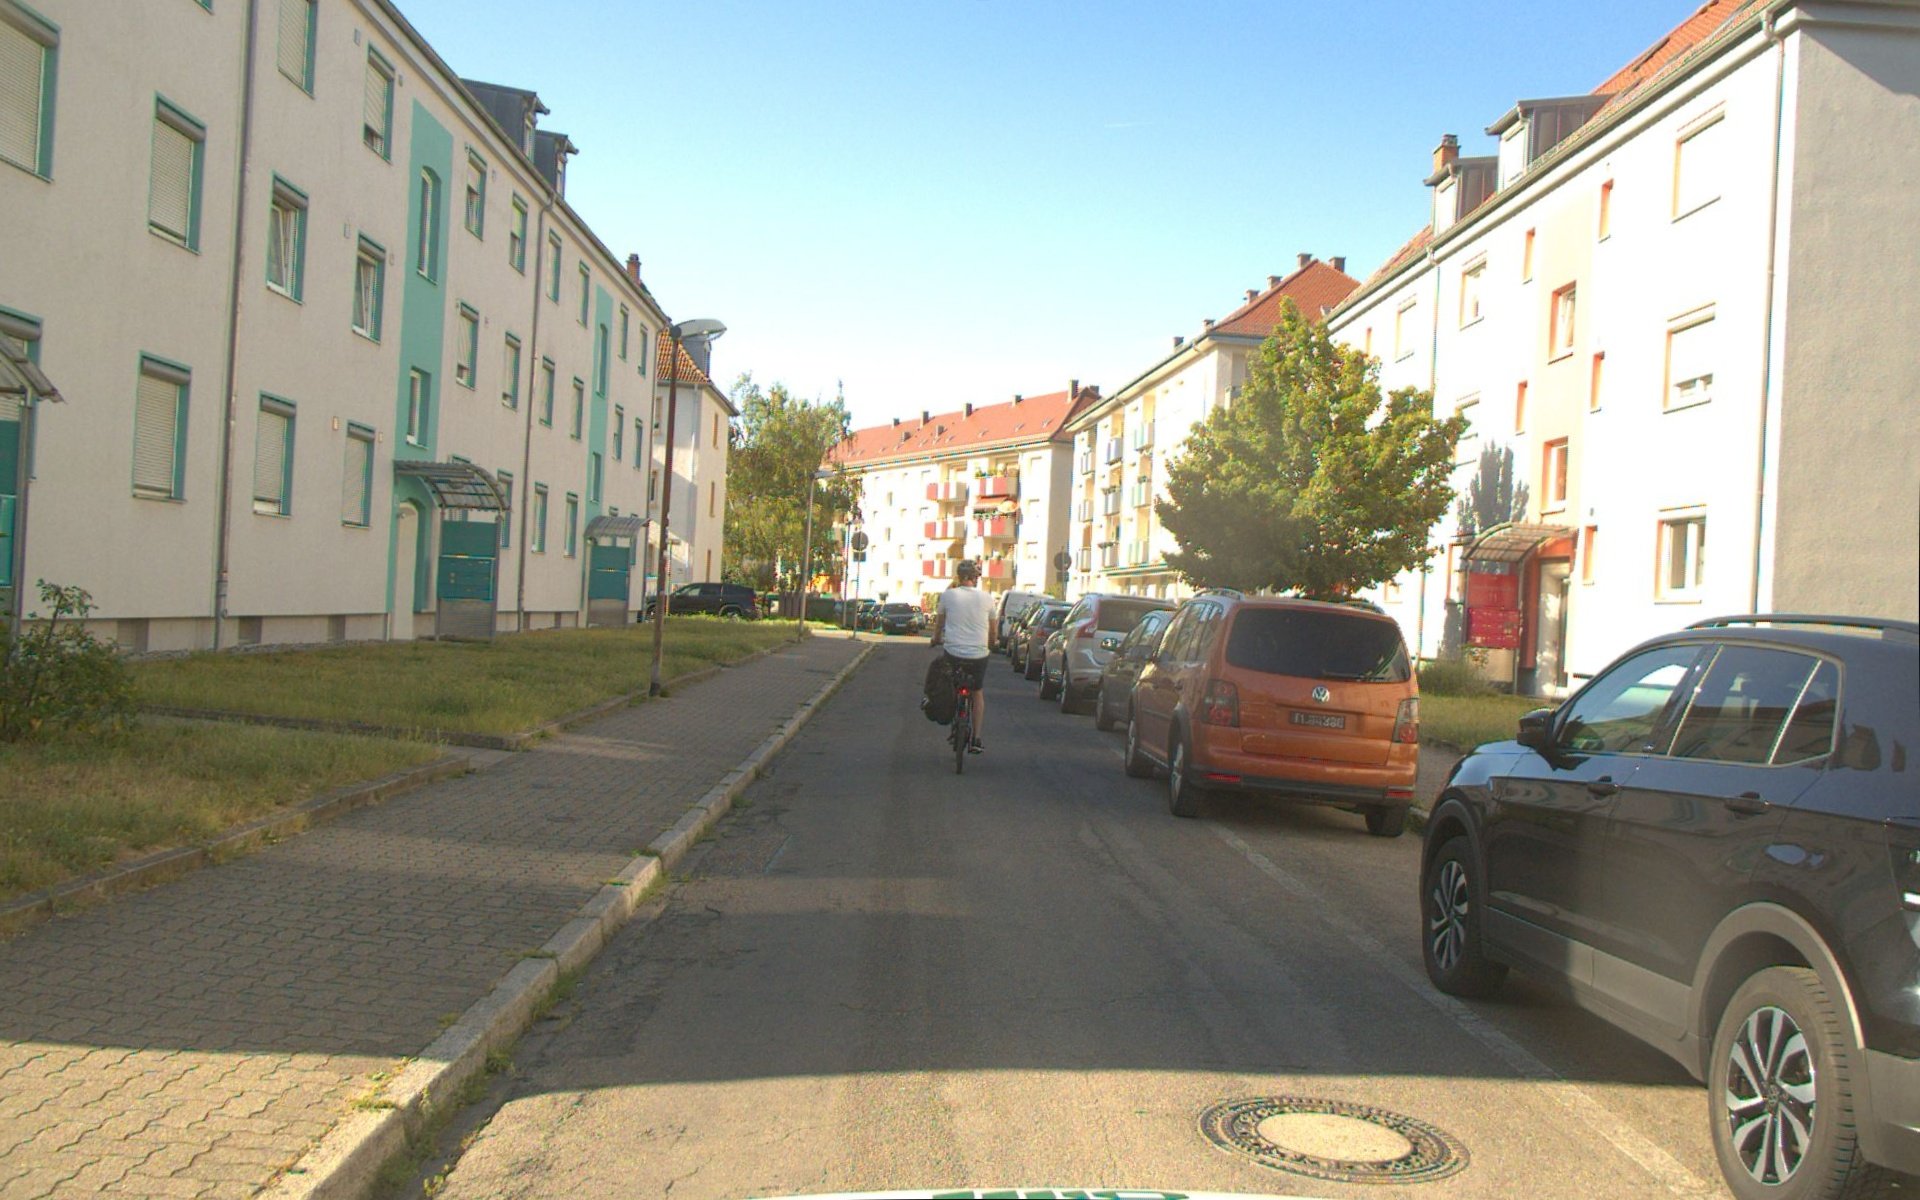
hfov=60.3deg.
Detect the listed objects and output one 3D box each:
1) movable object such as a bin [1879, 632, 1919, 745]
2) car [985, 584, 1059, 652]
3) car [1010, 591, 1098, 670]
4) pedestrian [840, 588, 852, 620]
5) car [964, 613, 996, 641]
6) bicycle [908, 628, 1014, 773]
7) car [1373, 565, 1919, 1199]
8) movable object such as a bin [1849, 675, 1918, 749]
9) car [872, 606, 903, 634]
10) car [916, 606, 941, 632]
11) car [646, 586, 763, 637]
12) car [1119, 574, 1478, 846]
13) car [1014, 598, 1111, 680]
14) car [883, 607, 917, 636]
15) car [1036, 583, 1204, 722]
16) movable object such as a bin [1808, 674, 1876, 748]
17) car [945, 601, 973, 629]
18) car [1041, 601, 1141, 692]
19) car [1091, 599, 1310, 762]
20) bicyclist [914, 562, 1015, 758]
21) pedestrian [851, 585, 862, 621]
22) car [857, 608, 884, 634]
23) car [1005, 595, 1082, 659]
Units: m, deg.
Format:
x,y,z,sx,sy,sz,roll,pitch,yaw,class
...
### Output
x,y,z,sx,sy,sz,roll,pitch,yaw,class
12.993,1.174,21.531,1.332,1.440,1.187,2,0,-2,movable object such as a bin
1.736,0.475,47.336,1.641,1.769,3.940,4,0,-3,car
2.101,0.659,37.789,1.528,1.604,3.364,4,0,-3,car
-5.271,0.171,76.294,0.425,1.452,0.543,4,0,-2,pedestrian
1.074,1.471,89.924,1.440,1.358,3.139,4,0,-3,car
-0.023,0.864,14.895,0.792,1.148,2.100,2,0,-4,bicycle
2.909,0.802,5.603,1.678,1.623,4.396,5,0,-2,car
12.048,1.452,21.585,0.512,0.902,0.633,3,0,-1,movable object such as a bin
-3.707,1.002,84.605,1.441,1.358,3.137,-1,0,-5,car
-2.070,1.228,109.410,1.440,1.542,3.075,4,0,-3,car
-9.438,0.428,61.322,4.149,1.667,1.581,3,0,-6,car
2.497,0.746,13.274,1.824,1.697,4.126,5,0,-1,car
1.991,0.733,33.084,1.527,1.436,3.932,4,0,-1,car
-2.937,1.036,80.254,1.441,1.359,3.137,0,0,-6,car
2.201,0.669,23.835,1.667,1.699,4.377,4,0,-3,car
11.502,1.441,21.585,0.512,0.902,0.633,3,0,-1,movable object such as a bin
-0.054,0.861,96.882,1.354,1.523,3.075,4,0,-3,car
2.261,0.775,29.236,1.363,1.427,3.243,4,0,-1,car
2.598,0.821,18.715,1.586,1.485,3.838,5,0,-4,car
0.029,0.516,14.743,0.793,1.672,0.898,2,0,-4,bicyclist
-4.780,0.145,76.330,0.425,1.601,0.543,4,0,-2,pedestrian
-4.964,1.140,91.217,1.440,1.359,3.138,-1,0,-4,car
2.119,0.668,42.631,1.528,1.478,3.364,4,0,-3,car
